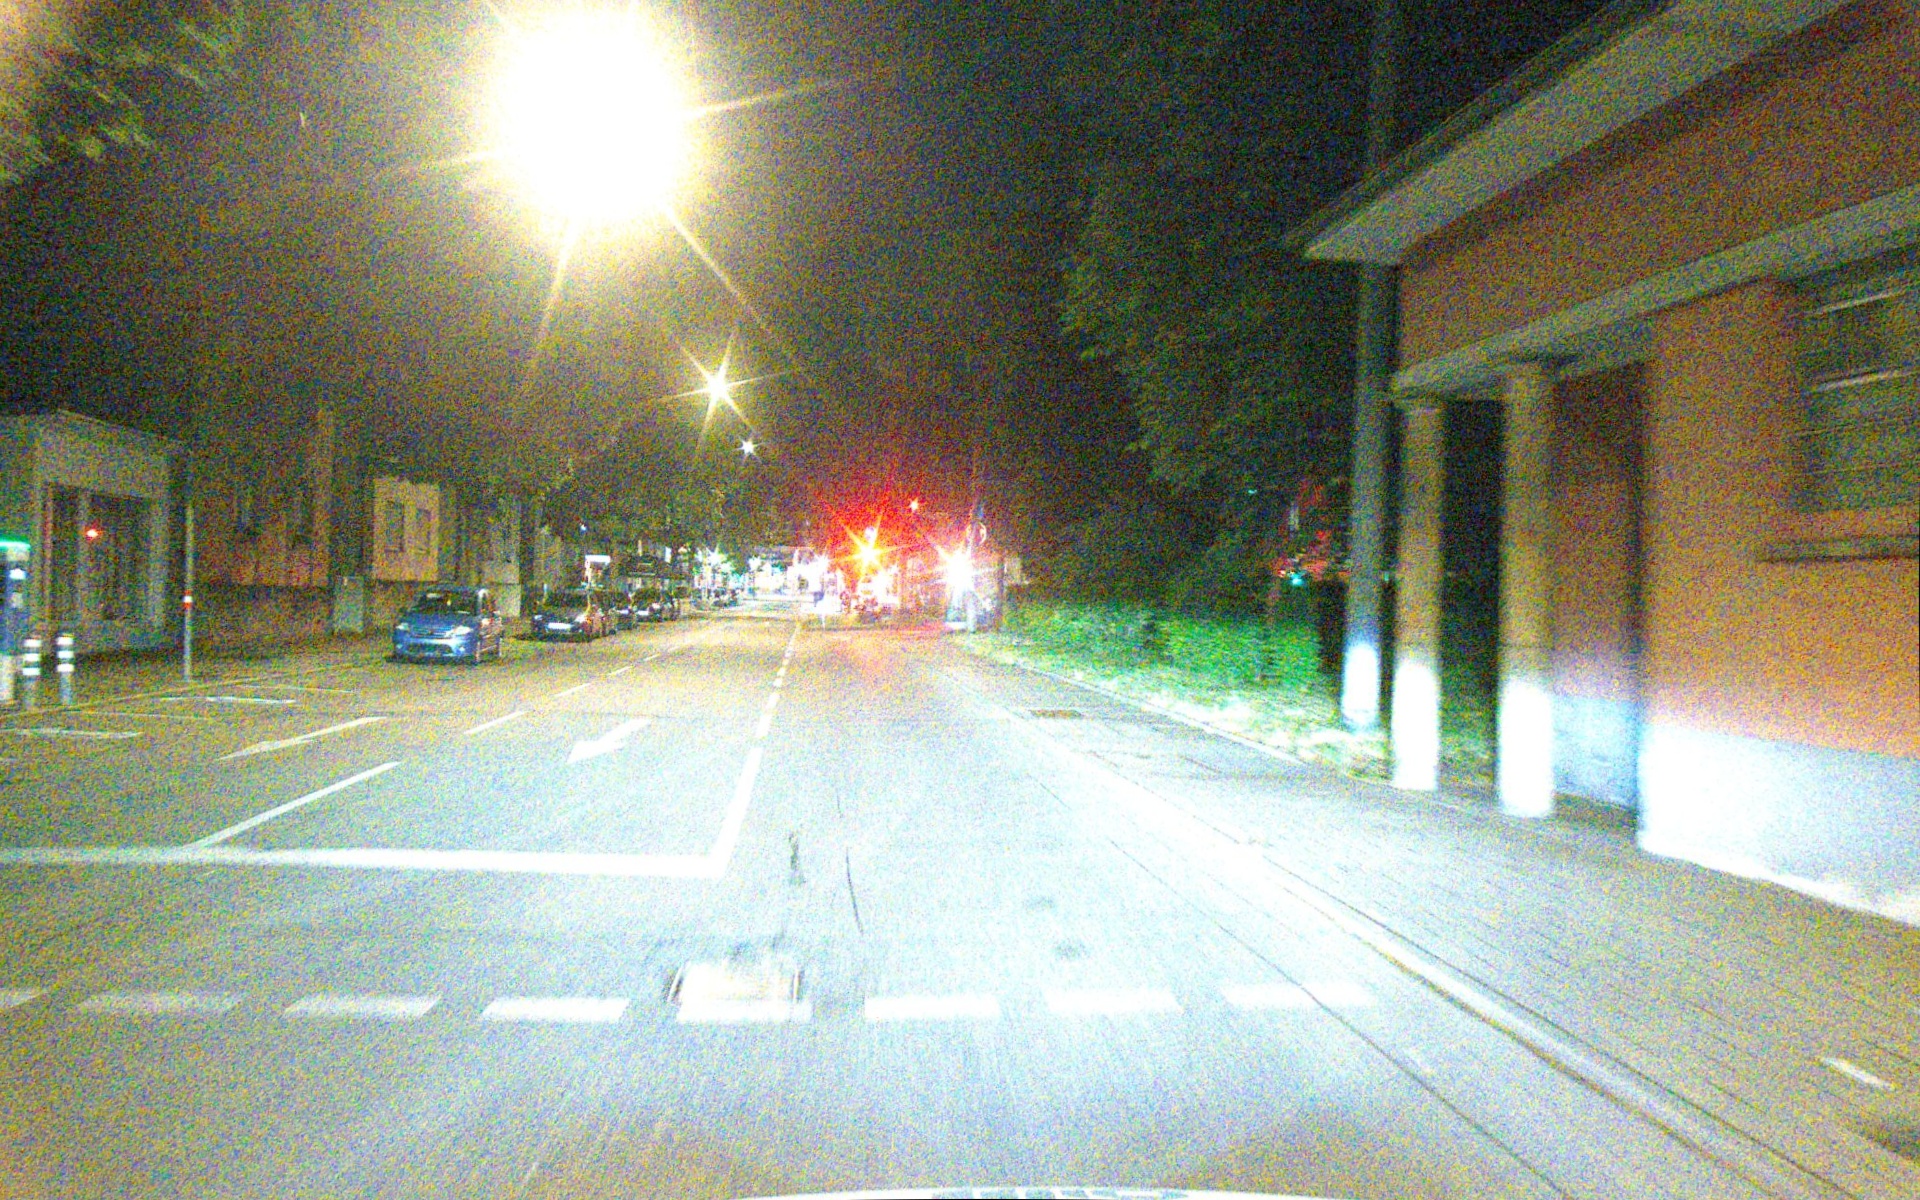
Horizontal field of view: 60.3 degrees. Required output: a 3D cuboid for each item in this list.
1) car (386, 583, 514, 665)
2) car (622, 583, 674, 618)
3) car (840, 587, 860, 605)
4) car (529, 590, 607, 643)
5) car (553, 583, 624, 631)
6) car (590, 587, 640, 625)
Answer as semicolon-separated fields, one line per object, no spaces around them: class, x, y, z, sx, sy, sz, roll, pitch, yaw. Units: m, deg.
car;-10.307;0.440;33.693;1.681;1.520;3.985;2;0;-6
car;-14.344;0.006;76.199;1.862;1.497;4.447;3;0;-5
car;-8.993;-0.308;135.310;1.619;1.456;3.997;0;0;-4
car;-11.751;0.463;49.825;1.734;1.512;4.760;1;0;-7
car;-12.281;0.229;54.895;1.734;1.512;4.857;1;0;-6
car;-13.146;0.211;63.180;1.592;1.407;4.444;1;0;-8
